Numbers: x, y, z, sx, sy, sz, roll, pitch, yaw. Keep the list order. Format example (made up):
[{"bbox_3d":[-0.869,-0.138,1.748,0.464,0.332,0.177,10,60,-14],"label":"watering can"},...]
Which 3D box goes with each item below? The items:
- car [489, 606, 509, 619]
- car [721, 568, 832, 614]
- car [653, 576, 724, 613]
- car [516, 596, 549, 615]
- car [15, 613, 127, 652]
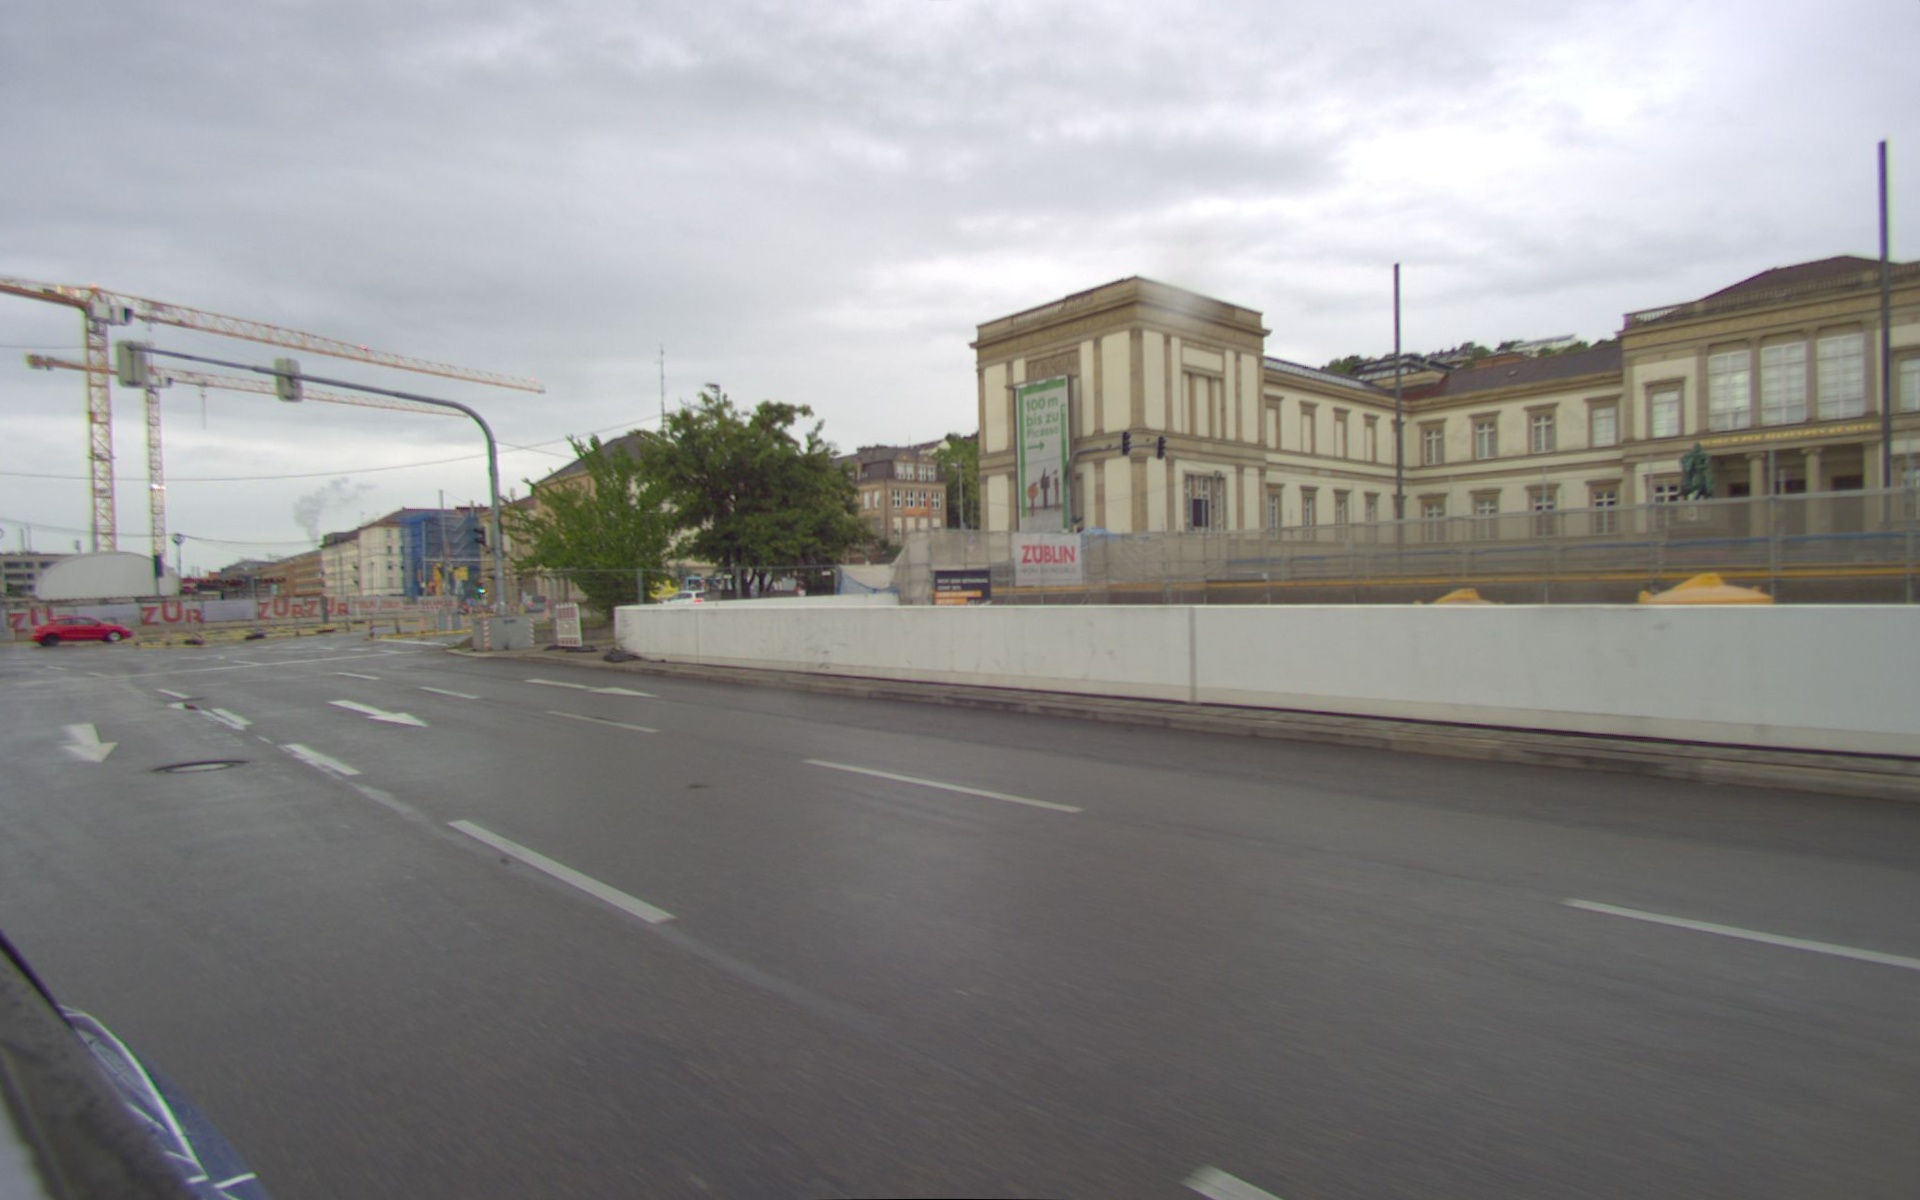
[{"bbox_3d":[-56.830,1.568,124.734,1.557,1.357,3.817,-4,4,-33],"label":"car"},{"bbox_3d":[-9.726,-0.475,53.509,5.667,2.189,2.345,-1,3,34],"label":"car"},{"bbox_3d":[-16.163,-0.327,60.052,1.971,2.028,4.645,-5,4,-44],"label":"car"},{"bbox_3d":[-45.091,0.592,106.640,1.968,1.852,4.693,-4,3,-38],"label":"car"},{"bbox_3d":[-44.430,1.609,50.633,1.689,1.563,3.948,-1,3,39],"label":"car"}]
